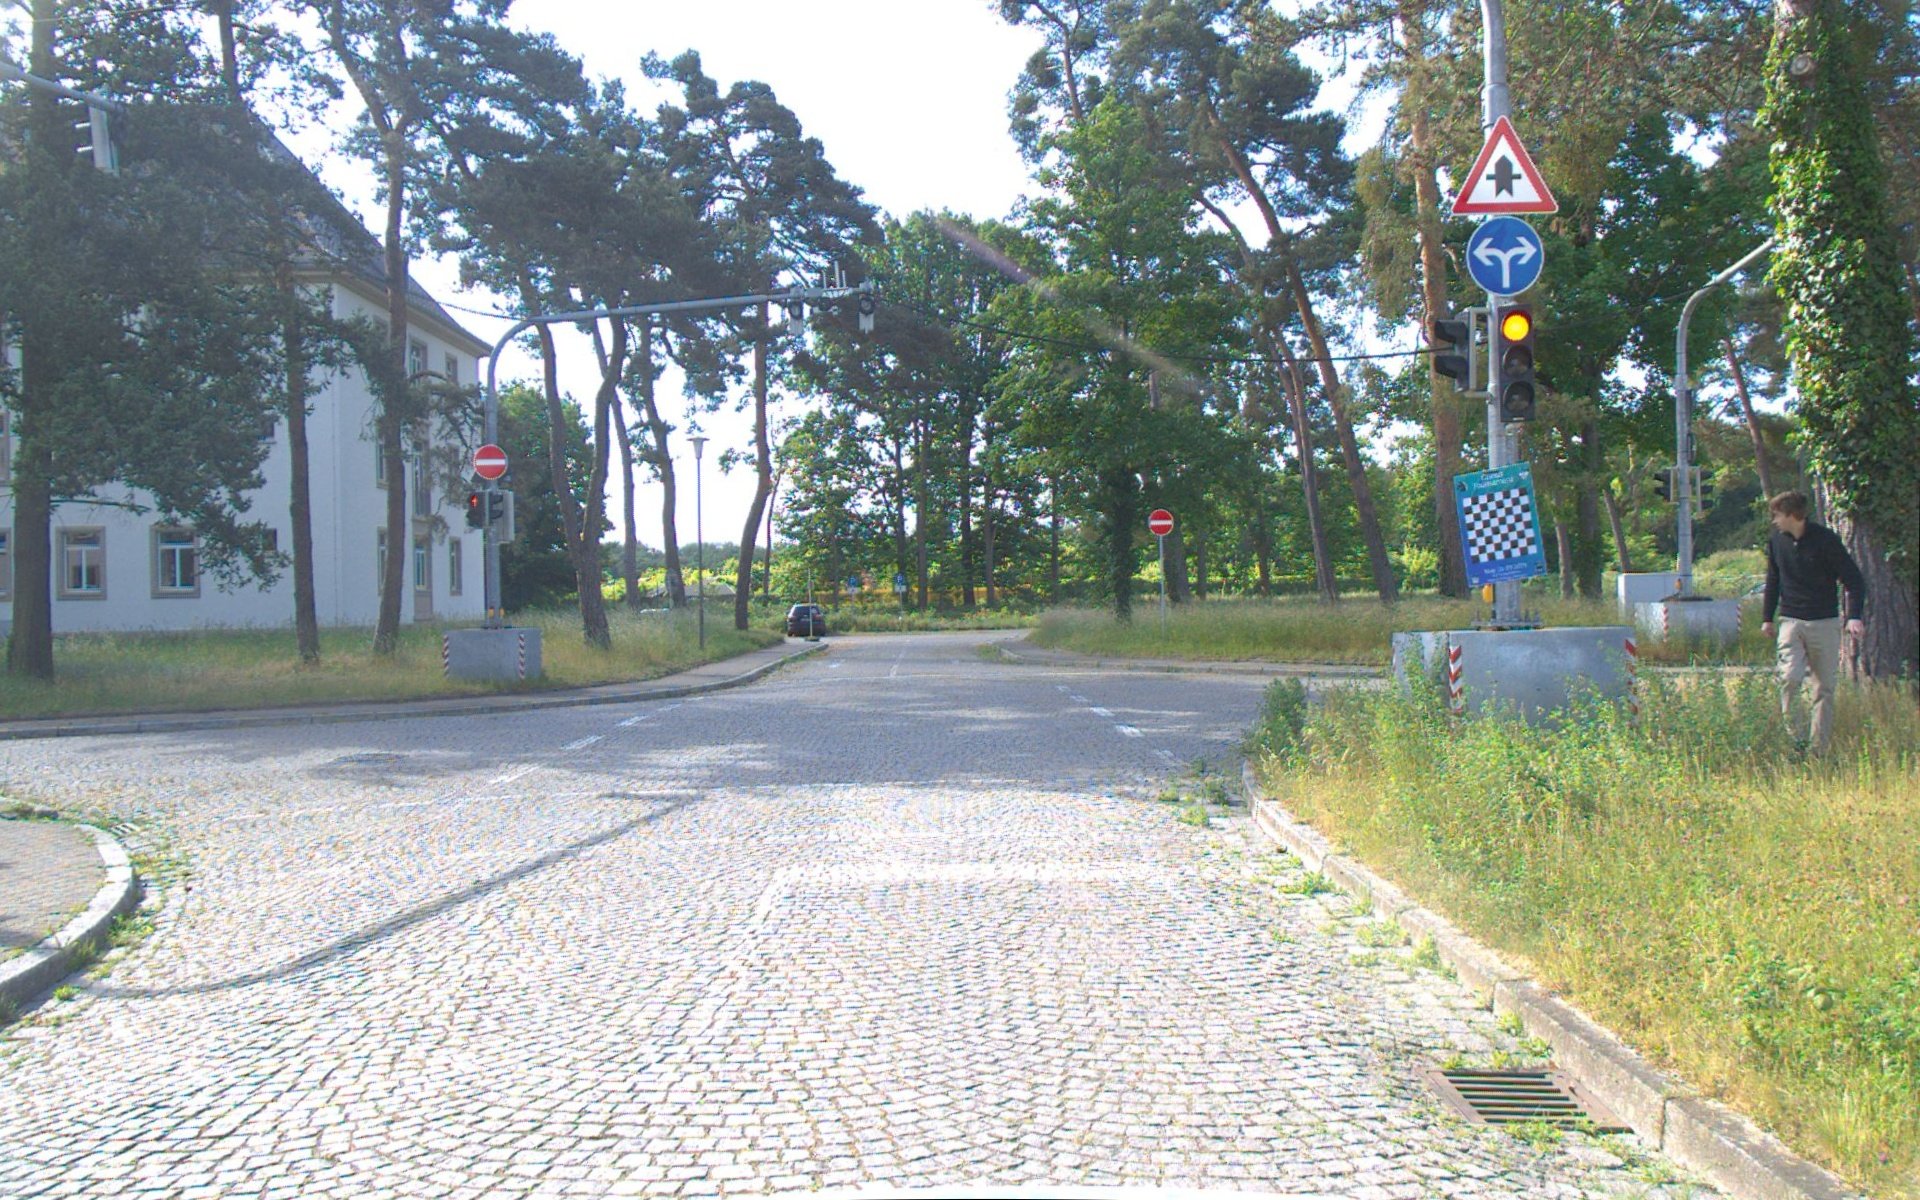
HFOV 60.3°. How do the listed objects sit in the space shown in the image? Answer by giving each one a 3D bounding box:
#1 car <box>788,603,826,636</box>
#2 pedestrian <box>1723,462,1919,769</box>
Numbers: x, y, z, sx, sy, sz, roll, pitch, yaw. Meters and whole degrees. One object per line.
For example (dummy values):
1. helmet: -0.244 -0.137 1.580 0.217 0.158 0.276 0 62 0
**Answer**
1. car: -7.420 0.930 80.284 1.676 1.522 3.916 -2 0 -4
2. pedestrian: 5.543 0.095 10.539 1.145 1.827 1.061 -2 0 27
